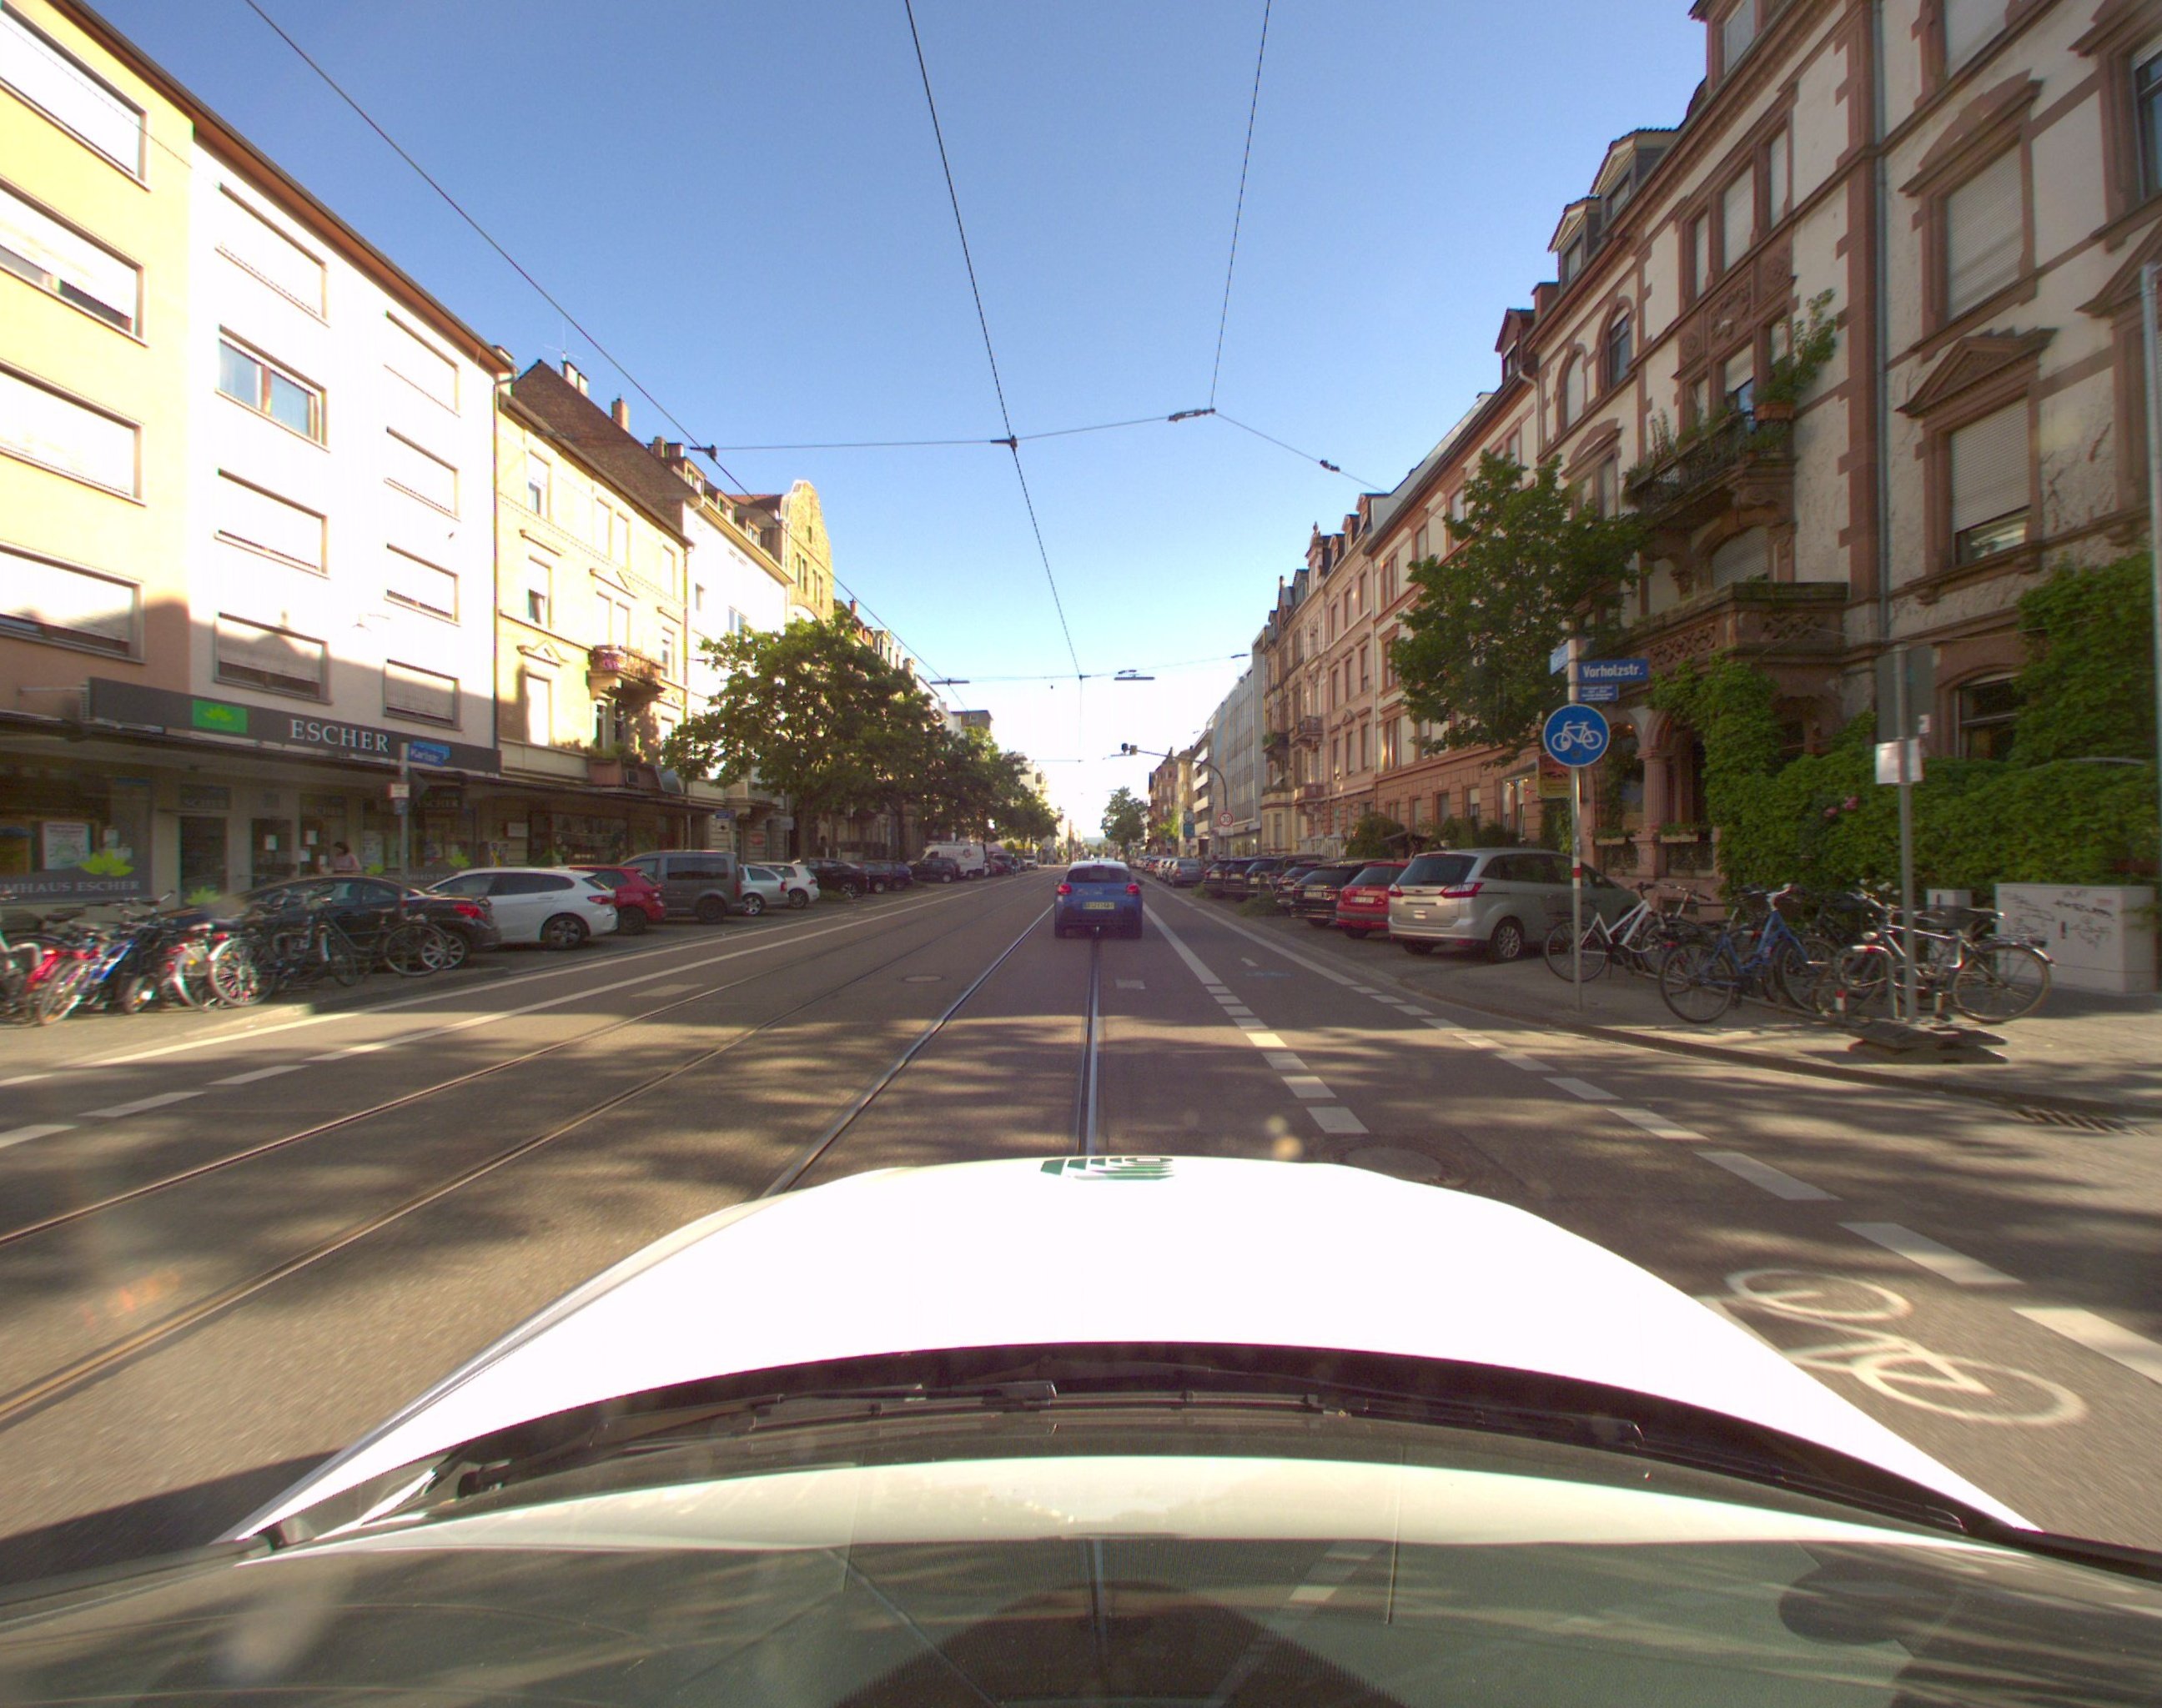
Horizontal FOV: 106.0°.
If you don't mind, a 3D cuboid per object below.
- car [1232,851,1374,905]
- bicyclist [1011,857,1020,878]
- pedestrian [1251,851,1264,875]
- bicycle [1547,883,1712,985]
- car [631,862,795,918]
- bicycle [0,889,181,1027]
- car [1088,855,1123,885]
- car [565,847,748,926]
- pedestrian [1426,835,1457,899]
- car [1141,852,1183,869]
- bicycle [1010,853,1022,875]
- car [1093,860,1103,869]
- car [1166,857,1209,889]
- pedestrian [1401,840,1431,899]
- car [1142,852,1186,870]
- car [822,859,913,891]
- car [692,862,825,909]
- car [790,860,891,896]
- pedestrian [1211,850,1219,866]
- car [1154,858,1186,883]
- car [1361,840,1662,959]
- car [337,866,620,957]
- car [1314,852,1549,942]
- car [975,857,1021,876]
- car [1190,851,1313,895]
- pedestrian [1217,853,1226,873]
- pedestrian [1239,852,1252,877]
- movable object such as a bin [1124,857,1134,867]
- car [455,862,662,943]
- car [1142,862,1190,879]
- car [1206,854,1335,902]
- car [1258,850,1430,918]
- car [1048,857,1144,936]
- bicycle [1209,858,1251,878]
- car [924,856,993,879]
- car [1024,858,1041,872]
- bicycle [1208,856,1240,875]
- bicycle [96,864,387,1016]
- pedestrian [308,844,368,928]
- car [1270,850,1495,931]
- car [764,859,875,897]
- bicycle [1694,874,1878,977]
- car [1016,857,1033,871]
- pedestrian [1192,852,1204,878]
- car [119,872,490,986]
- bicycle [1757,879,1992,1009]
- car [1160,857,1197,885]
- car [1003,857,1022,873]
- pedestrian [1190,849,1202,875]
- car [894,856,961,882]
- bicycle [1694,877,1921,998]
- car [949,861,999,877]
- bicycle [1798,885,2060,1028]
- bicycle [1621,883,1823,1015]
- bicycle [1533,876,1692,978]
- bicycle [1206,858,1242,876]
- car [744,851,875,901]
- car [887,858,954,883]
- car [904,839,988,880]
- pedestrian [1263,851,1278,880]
[{"bbox_3d":[7.005,0.739,25.715,4.004,1.596,1.944,0,-1,-23],"label":"car"},{"bbox_3d":[-5.194,1.090,64.467,0.632,1.681,0.727,0,-1,1],"label":"bicyclist"},{"bbox_3d":[11.733,0.579,54.184,0.709,1.607,0.654,0,-1,0],"label":"pedestrian"},{"bbox_3d":[6.056,0.872,9.029,1.547,1.079,0.308,0,-1,7],"label":"bicycle"},{"bbox_3d":[-10.312,0.947,22.875,4.032,1.449,1.682,1,-1,-31],"label":"car"},{"bbox_3d":[-10.209,0.997,8.379,0.686,1.123,1.870,-1,2,-29],"label":"bicycle"},{"bbox_3d":[1.404,0.893,45.875,1.866,1.596,4.001,0,-1,2],"label":"car"},{"bbox_3d":[-10.386,0.750,20.049,3.835,1.785,1.779,1,-1,-31],"label":"car"},{"bbox_3d":[10.249,0.370,23.178,0.516,1.778,0.864,0,-1,1],"label":"pedestrian"},{"bbox_3d":[7.423,0.585,74.359,3.463,1.555,1.806,1,-1,-31],"label":"car"},{"bbox_3d":[-5.159,0.811,64.537,0.678,1.679,2.097,0,-1,2],"label":"bicycle"},{"bbox_3d":[2.586,1.572,122.330,1.417,1.432,3.140,0,-1,2],"label":"car"},{"bbox_3d":[5.617,0.996,43.487,1.866,1.596,4.721,0,-1,2],"label":"car"},{"bbox_3d":[9.535,0.447,23.187,0.516,1.649,0.864,0,-1,1],"label":"pedestrian"},{"bbox_3d":[7.851,0.654,77.123,3.743,1.652,2.027,1,-1,-32],"label":"car"},{"bbox_3d":[-10.306,0.974,39.364,4.008,1.489,1.790,0,-1,-27],"label":"car"},{"bbox_3d":[-10.358,0.976,26.201,3.850,1.430,1.752,0,-1,-25],"label":"car"},{"bbox_3d":[-10.692,1.041,36.254,4.013,1.489,1.788,1,-1,-31],"label":"car"},{"bbox_3d":[13.286,0.431,80.963,0.690,1.588,0.678,0,-1,1],"label":"pedestrian"},{"bbox_3d":[5.957,1.083,54.719,1.866,1.596,4.001,0,-1,2],"label":"car"},{"bbox_3d":[6.712,0.634,12.692,4.370,1.596,1.839,0,-1,-24],"label":"car"},{"bbox_3d":[-10.342,0.916,14.356,3.804,1.400,1.737,1,-1,-32],"label":"car"},{"bbox_3d":[6.654,0.748,15.498,4.004,1.536,1.904,0,-1,-23],"label":"car"},{"bbox_3d":[-7.283,1.119,71.187,3.736,1.622,1.777,0,-1,-20],"label":"car"},{"bbox_3d":[6.526,0.704,31.169,4.322,1.596,1.967,0,-1,-23],"label":"car"},{"bbox_3d":[12.130,0.775,70.343,0.690,1.756,0.678,0,-1,1],"label":"pedestrian"},{"bbox_3d":[10.895,0.664,53.965,0.709,1.607,0.654,-3,-1,0],"label":"pedestrian"},{"bbox_3d":[7.216,1.220,121.790,1.389,1.483,1.656,0,-1,1],"label":"movable object such as a bin"},{"bbox_3d":[-10.731,0.941,16.987,3.481,1.473,1.633,-1,0,-29],"label":"car"},{"bbox_3d":[7.510,1.432,71.881,3.743,1.521,1.949,1,-1,-32],"label":"car"},{"bbox_3d":[6.644,0.810,28.626,4.004,1.596,2.071,0,-1,-23],"label":"car"},{"bbox_3d":[6.922,0.734,21.312,4.348,1.596,2.024,1,-1,-33],"label":"car"},{"bbox_3d":[0.321,0.798,16.782,1.756,1.441,3.557,0,-1,1],"label":"car"},{"bbox_3d":[9.367,0.882,51.091,2.529,1.221,0.664,0,-1,0],"label":"bicycle"},{"bbox_3d":[-9.162,0.997,60.999,4.787,1.618,1.695,1,-1,-31],"label":"car"},{"bbox_3d":[-6.288,1.425,105.604,1.825,1.848,4.215,0,-1,2],"label":"car"},{"bbox_3d":[9.323,0.720,53.067,2.012,1.221,0.664,0,-1,0],"label":"bicycle"},{"bbox_3d":[-8.881,0.818,8.835,0.680,1.319,2.434,0,2,-2],"label":"bicycle"},{"bbox_3d":[-14.864,0.632,16.309,0.567,1.652,0.641,0,-1,1],"label":"pedestrian"},{"bbox_3d":[6.616,0.749,17.901,4.454,1.596,2.072,0,-1,-23],"label":"car"},{"bbox_3d":[-10.727,0.960,33.476,4.013,1.489,1.849,1,-1,-31],"label":"car"},{"bbox_3d":[8.046,0.796,9.346,1.547,1.127,0.552,0,-1,7],"label":"bicycle"},{"bbox_3d":[-6.338,1.125,92.124,1.742,1.487,4.039,0,-1,-2],"label":"car"},{"bbox_3d":[7.338,0.701,51.082,0.709,1.607,0.654,0,-1,0],"label":"pedestrian"},{"bbox_3d":[-10.497,0.936,11.395,3.483,1.337,1.608,1,-1,-33],"label":"car"},{"bbox_3d":[7.280,0.801,7.529,1.547,1.127,0.529,0,-1,7],"label":"bicycle"},{"bbox_3d":[5.842,0.988,49.214,1.866,1.596,4.001,0,-1,2],"label":"car"},{"bbox_3d":[-7.278,1.148,86.885,1.742,1.618,4.408,0,-1,-2],"label":"car"},{"bbox_3d":[7.405,0.508,52.418,0.709,1.671,0.654,0,-1,0],"label":"pedestrian"},{"bbox_3d":[-9.957,0.951,52.831,4.005,1.618,1.699,0,-1,-25],"label":"car"},{"bbox_3d":[7.197,0.804,8.130,1.665,1.127,0.552,0,-1,7],"label":"bicycle"},{"bbox_3d":[-8.793,1.248,67.126,3.815,1.265,1.504,0,-1,-25],"label":"car"},{"bbox_3d":[7.195,0.845,6.966,1.547,1.127,0.552,0,-1,7],"label":"bicycle"},{"bbox_3d":[5.787,0.839,7.395,1.392,1.127,0.551,0,-1,1],"label":"bicycle"},{"bbox_3d":[6.088,0.826,9.362,1.551,1.127,0.295,0,-1,7],"label":"bicycle"},{"bbox_3d":[9.619,0.858,55.012,2.347,1.221,0.664,0,-1,4],"label":"bicycle"},{"bbox_3d":[-10.230,0.794,30.769,4.381,1.783,1.976,1,-1,-31],"label":"car"},{"bbox_3d":[-9.990,1.022,50.693,3.994,1.489,1.797,0,-1,-15],"label":"car"},{"bbox_3d":[-9.303,0.406,56.259,5.402,2.749,1.789,1,-1,-29],"label":"car"},{"bbox_3d":[10.679,0.654,46.013,0.709,1.607,0.654,0,-1,0],"label":"pedestrian"}]
